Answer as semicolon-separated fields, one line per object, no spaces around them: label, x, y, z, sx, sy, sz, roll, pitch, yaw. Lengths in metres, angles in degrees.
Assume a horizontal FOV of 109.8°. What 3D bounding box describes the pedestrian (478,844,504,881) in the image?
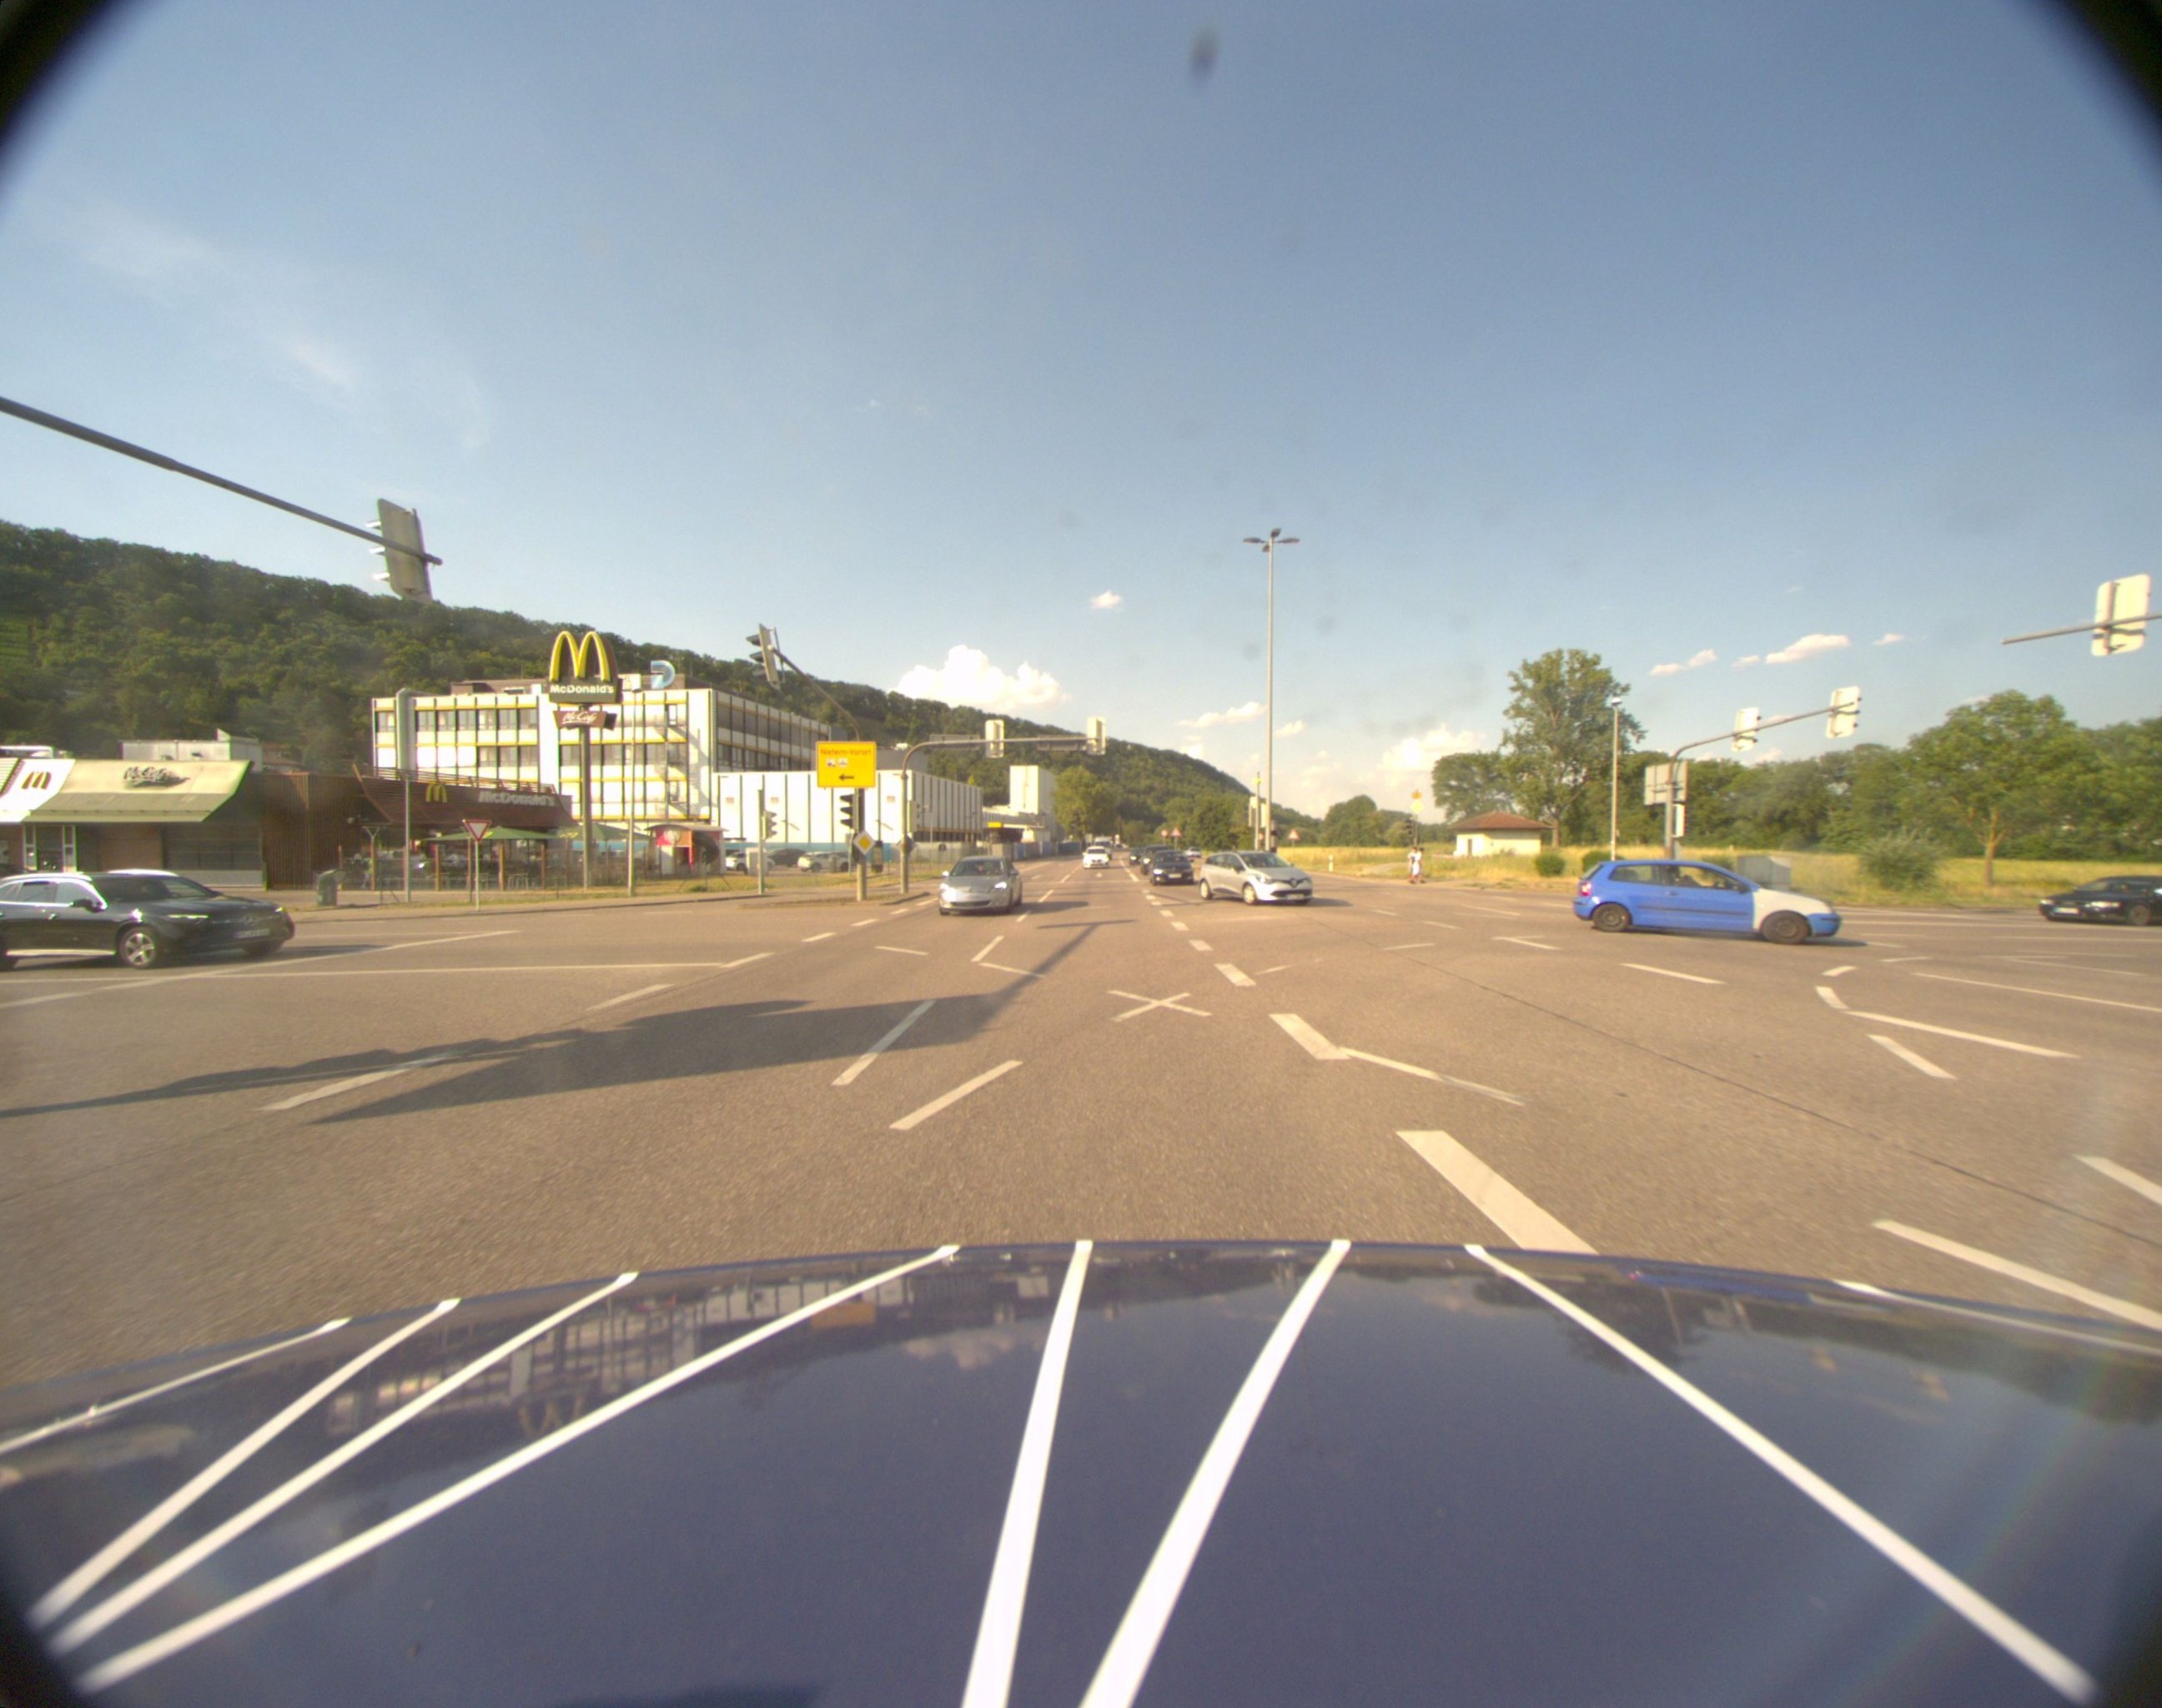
pedestrian;-33.126;0.465;42.653;0.735;2.002;0.763;-2;2;6

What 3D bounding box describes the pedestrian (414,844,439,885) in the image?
pedestrian;-32.833;0.503;38.121;0.737;2.002;0.761;-3;2;-29

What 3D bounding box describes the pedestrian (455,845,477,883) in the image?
pedestrian;-33.578;0.545;41.499;0.737;2.002;0.761;-3;2;-29

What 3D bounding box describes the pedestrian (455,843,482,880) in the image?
pedestrian;-34.393;0.423;42.662;0.735;2.002;0.763;-2;2;6

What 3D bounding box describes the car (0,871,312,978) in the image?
car;-16.791;1.210;13.452;4.465;1.576;2.000;-2;2;5

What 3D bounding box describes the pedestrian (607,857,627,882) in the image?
pedestrian;-25.974;0.872;42.520;0.673;1.329;0.597;-2;2;-2

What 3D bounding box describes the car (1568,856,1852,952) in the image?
car;11.504;0.832;14.255;3.881;1.491;1.696;1;2;35

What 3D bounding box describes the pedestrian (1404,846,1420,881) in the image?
pedestrian;15.649;0.430;35.936;0.655;1.597;0.838;-1;2;22

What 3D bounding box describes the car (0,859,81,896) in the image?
car;-45.896;0.973;32.469;3.996;1.449;1.861;0;2;3

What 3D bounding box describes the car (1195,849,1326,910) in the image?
car;4.819;0.621;21.026;1.763;1.468;4.183;-1;1;-14

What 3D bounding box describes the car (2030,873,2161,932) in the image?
car;29.234;1.320;21.395;3.881;1.352;1.634;-2;2;-13

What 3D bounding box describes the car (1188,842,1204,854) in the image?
car;15.380;-0.821;101.822;1.712;1.426;4.144;1;2;2

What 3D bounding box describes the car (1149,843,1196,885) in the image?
car;3.754;0.352;31.717;1.617;1.565;3.999;-2;1;2

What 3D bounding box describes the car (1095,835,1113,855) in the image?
car;2.549;-1.003;84.481;1.795;2.155;4.588;0;1;-1

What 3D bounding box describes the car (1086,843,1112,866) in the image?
car;1.368;0.008;56.151;1.825;1.552;3.999;-2;1;2

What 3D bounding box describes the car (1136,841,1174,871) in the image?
car;4.155;0.077;43.385;1.858;1.565;4.144;-2;1;2

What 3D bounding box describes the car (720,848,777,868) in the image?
car;-26.115;0.296;59.776;1.693;1.447;3.782;-1;2;34

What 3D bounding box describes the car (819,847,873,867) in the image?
car;-19.844;0.233;64.257;1.872;1.496;3.914;-1;2;35

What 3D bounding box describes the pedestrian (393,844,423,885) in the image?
pedestrian;-33.630;0.503;37.963;0.736;2.002;0.762;-2;2;-13

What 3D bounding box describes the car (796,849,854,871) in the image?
car;-20.051;0.457;59.653;1.872;1.496;3.914;-1;2;37

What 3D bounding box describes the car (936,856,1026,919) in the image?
car;-2.496;0.802;19.883;1.690;1.383;3.883;0;2;2

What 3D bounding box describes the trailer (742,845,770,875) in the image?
trailer;-21.963;0.377;51.274;1.351;1.936;3.472;1;0;-30

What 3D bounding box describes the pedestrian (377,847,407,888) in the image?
pedestrian;-34.520;0.661;38.099;0.764;2.002;0.735;-2;2;-15

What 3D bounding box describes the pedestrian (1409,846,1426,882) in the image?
pedestrian;15.471;0.472;34.937;0.655;1.597;0.891;-1;2;22
